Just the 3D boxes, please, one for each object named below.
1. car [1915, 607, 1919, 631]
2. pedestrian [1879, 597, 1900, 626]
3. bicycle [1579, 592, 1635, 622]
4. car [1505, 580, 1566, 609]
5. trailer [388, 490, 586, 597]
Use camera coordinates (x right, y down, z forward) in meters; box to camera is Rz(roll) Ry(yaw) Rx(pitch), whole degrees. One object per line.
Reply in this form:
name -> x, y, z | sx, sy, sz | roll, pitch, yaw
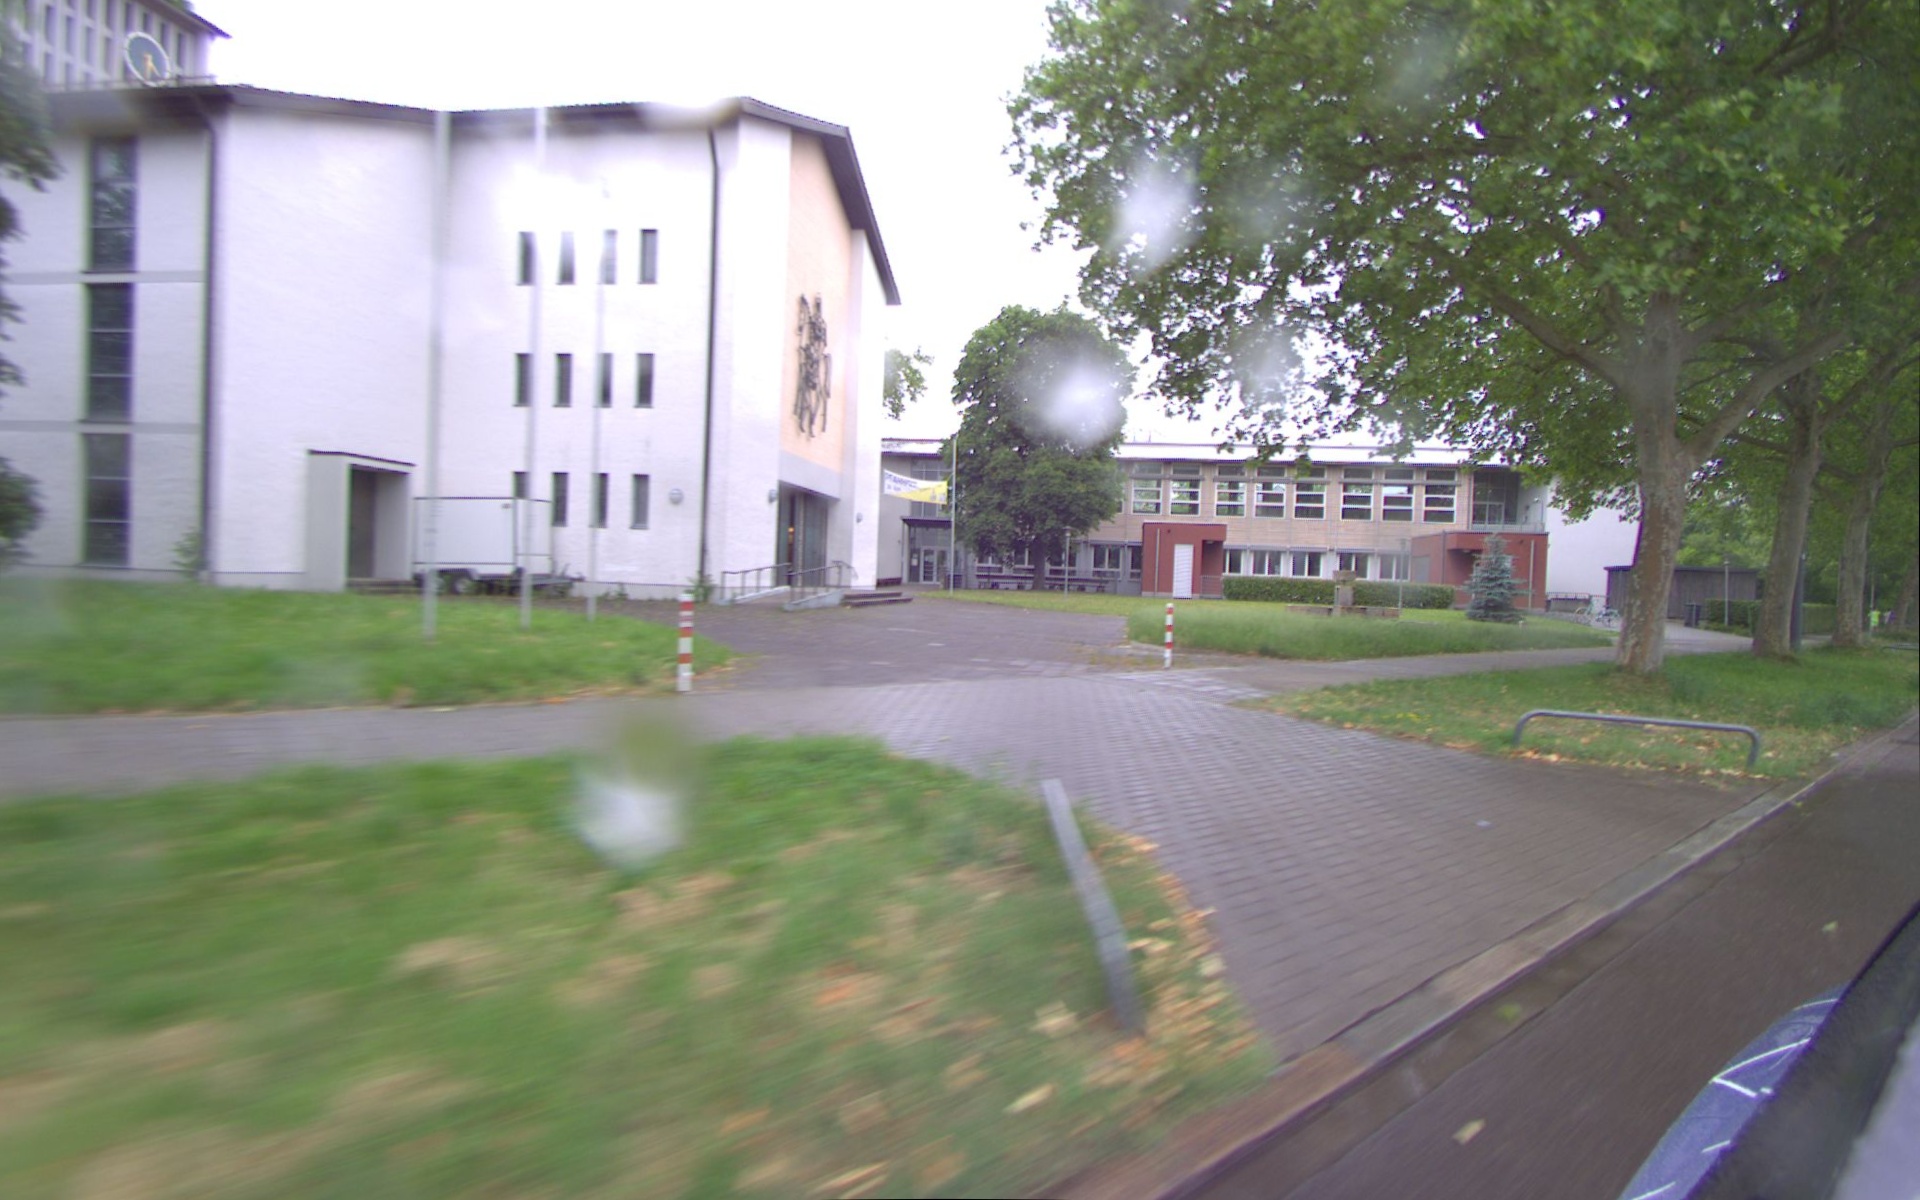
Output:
car -> 60.340, 1.284, 60.764 | 3.983, 1.505, 1.622 | 4, 2, 30
pedestrian -> 52.264, 0.631, 56.895 | 0.575, 1.557, 0.747 | 1, 2, -42
bicycle -> 27.496, 0.291, 43.032 | 1.902, 1.135, 0.521 | 3, 3, 2
car -> 31.207, -0.341, 54.957 | 1.721, 1.469, 3.572 | 1, 2, 10
trailer -> -11.404, -1.365, 24.521 | 3.956, 2.337, 1.887 | 3, 2, 10
